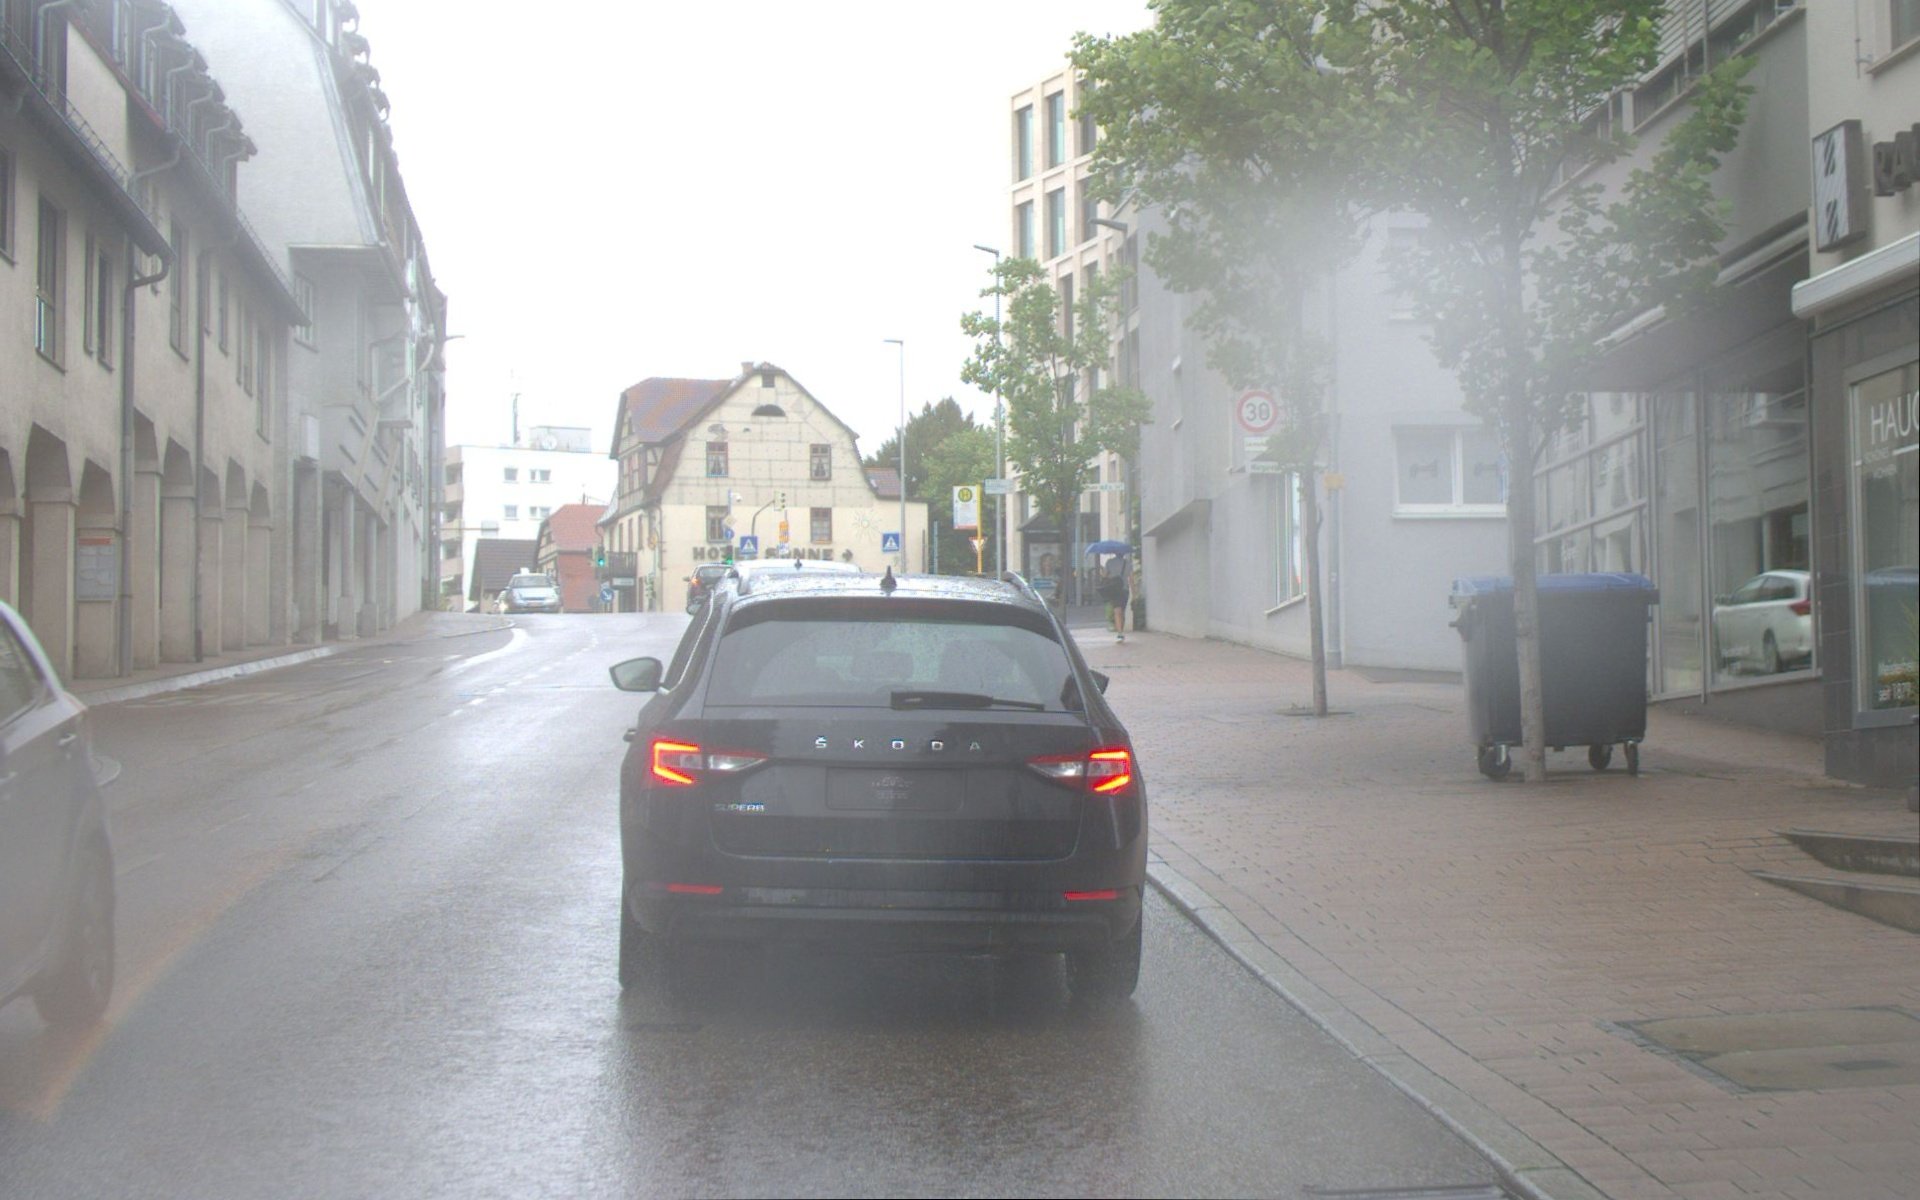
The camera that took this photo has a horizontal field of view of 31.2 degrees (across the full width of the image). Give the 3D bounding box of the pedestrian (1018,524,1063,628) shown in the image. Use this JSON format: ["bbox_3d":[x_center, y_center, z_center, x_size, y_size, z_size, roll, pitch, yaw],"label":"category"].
[{"bbox_3d":[1.344,-0.398,57.428,0.705,1.719,0.832,1,1,0],"label":"pedestrian"}]

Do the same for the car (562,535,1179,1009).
[{"bbox_3d":[-0.328,0.503,12.817,1.886,1.443,4.357,1,1,-1],"label":"car"}]

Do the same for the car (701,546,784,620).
[{"bbox_3d":[-4.916,-0.407,77.387,1.703,1.546,3.607,1,2,-6],"label":"car"}]

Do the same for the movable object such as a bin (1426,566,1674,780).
[{"bbox_3d":[3.879,0.462,22.745,1.286,1.345,1.487,1,1,-3],"label":"movable object such as a bin"}]

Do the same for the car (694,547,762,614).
[{"bbox_3d":[-7.087,-0.613,105.242,1.993,2.007,4.000,0,0,-3],"label":"car"}]

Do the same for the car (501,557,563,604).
[{"bbox_3d":[-15.511,-0.710,124.447,1.993,1.645,4.001,1,1,-10],"label":"car"}]

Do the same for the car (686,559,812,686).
[{"bbox_3d":[-2.994,0.347,48.140,1.627,1.525,4.000,0,-4,-5],"label":"car"}]

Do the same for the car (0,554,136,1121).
[{"bbox_3d":[-3.509,0.632,9.623,1.773,1.528,3.711,1,1,-5],"label":"car"}]

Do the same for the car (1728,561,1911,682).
[{"bbox_3d":[12.078,0.335,48.499,1.639,1.484,3.447,-1,-4,-1],"label":"car"}]

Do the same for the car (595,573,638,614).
[{"bbox_3d":[-13.384,-0.282,134.251,1.627,1.525,4.001,1,1,-5],"label":"car"}]

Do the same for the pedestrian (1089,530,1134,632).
[{"bbox_3d":[2.586,-0.324,58.815,0.705,1.719,0.832,1,1,0],"label":"pedestrian"}]

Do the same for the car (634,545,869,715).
[{"bbox_3d":[-1.887,0.238,32.246,1.856,1.468,4.000,1,1,1],"label":"car"}]
